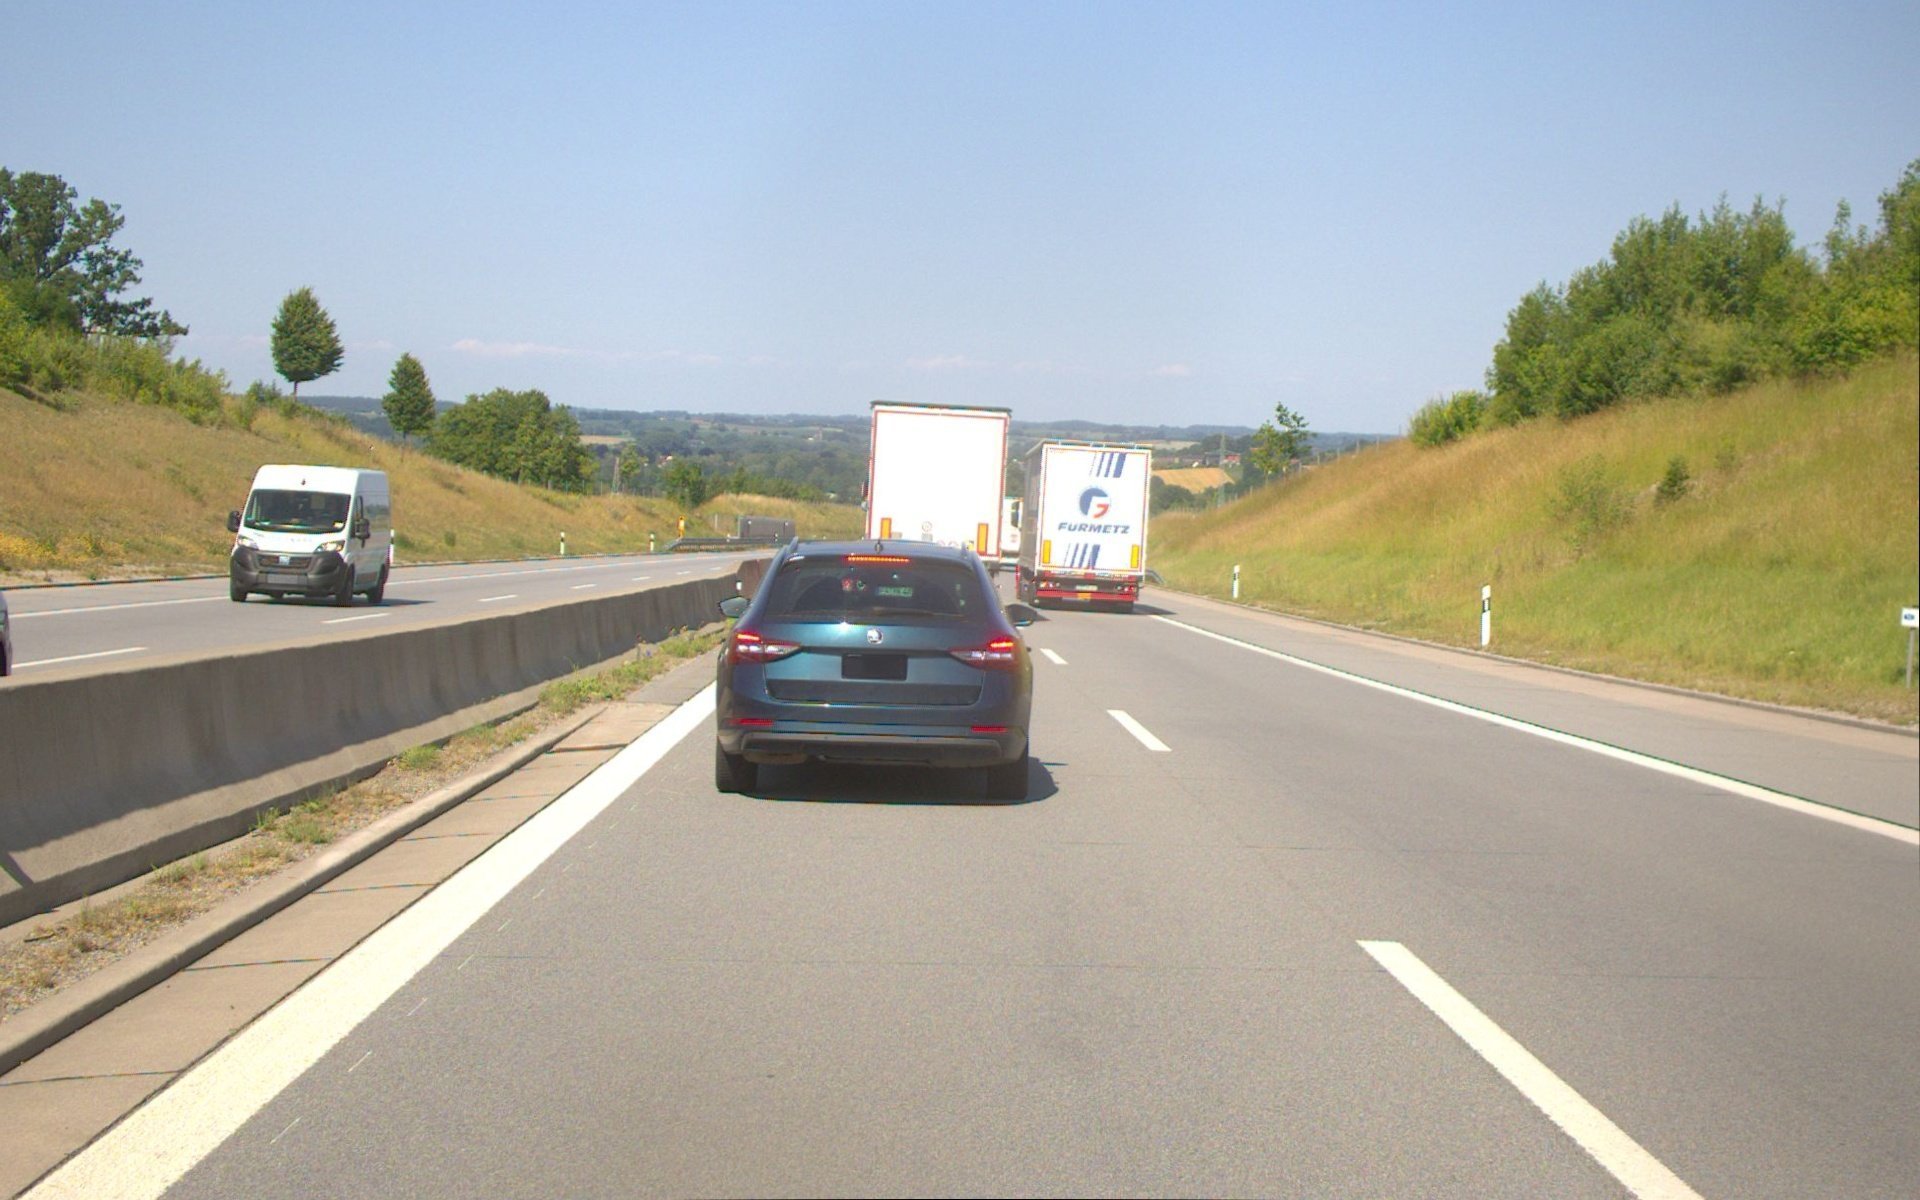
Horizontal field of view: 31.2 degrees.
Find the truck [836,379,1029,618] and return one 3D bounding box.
[{"bbox_3d":[-0.394,-1.993,68.957,3.211,4.366,11.233,1,1,3],"label":"truck"}]

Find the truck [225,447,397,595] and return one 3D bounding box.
[{"bbox_3d":[-11.523,-1.409,61.419,1.993,2.440,5.668,2,1,-1],"label":"truck"}]

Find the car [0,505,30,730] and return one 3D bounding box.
[{"bbox_3d":[-6.986,0.120,20.686,1.773,1.444,4.184,1,1,-2],"label":"car"}]

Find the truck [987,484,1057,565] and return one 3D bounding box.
[{"bbox_3d":[3.504,-4.192,191.128,3.604,4.366,11.233,1,1,2],"label":"truck"}]

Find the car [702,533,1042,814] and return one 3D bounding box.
[{"bbox_3d":[-0.519,0.359,20.410,1.776,1.436,3.789,2,1,-1],"label":"car"}]

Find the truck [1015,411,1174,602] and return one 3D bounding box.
[{"bbox_3d":[3.338,-2.282,85.045,3.604,4.366,11.233,1,1,2],"label":"truck"}]
